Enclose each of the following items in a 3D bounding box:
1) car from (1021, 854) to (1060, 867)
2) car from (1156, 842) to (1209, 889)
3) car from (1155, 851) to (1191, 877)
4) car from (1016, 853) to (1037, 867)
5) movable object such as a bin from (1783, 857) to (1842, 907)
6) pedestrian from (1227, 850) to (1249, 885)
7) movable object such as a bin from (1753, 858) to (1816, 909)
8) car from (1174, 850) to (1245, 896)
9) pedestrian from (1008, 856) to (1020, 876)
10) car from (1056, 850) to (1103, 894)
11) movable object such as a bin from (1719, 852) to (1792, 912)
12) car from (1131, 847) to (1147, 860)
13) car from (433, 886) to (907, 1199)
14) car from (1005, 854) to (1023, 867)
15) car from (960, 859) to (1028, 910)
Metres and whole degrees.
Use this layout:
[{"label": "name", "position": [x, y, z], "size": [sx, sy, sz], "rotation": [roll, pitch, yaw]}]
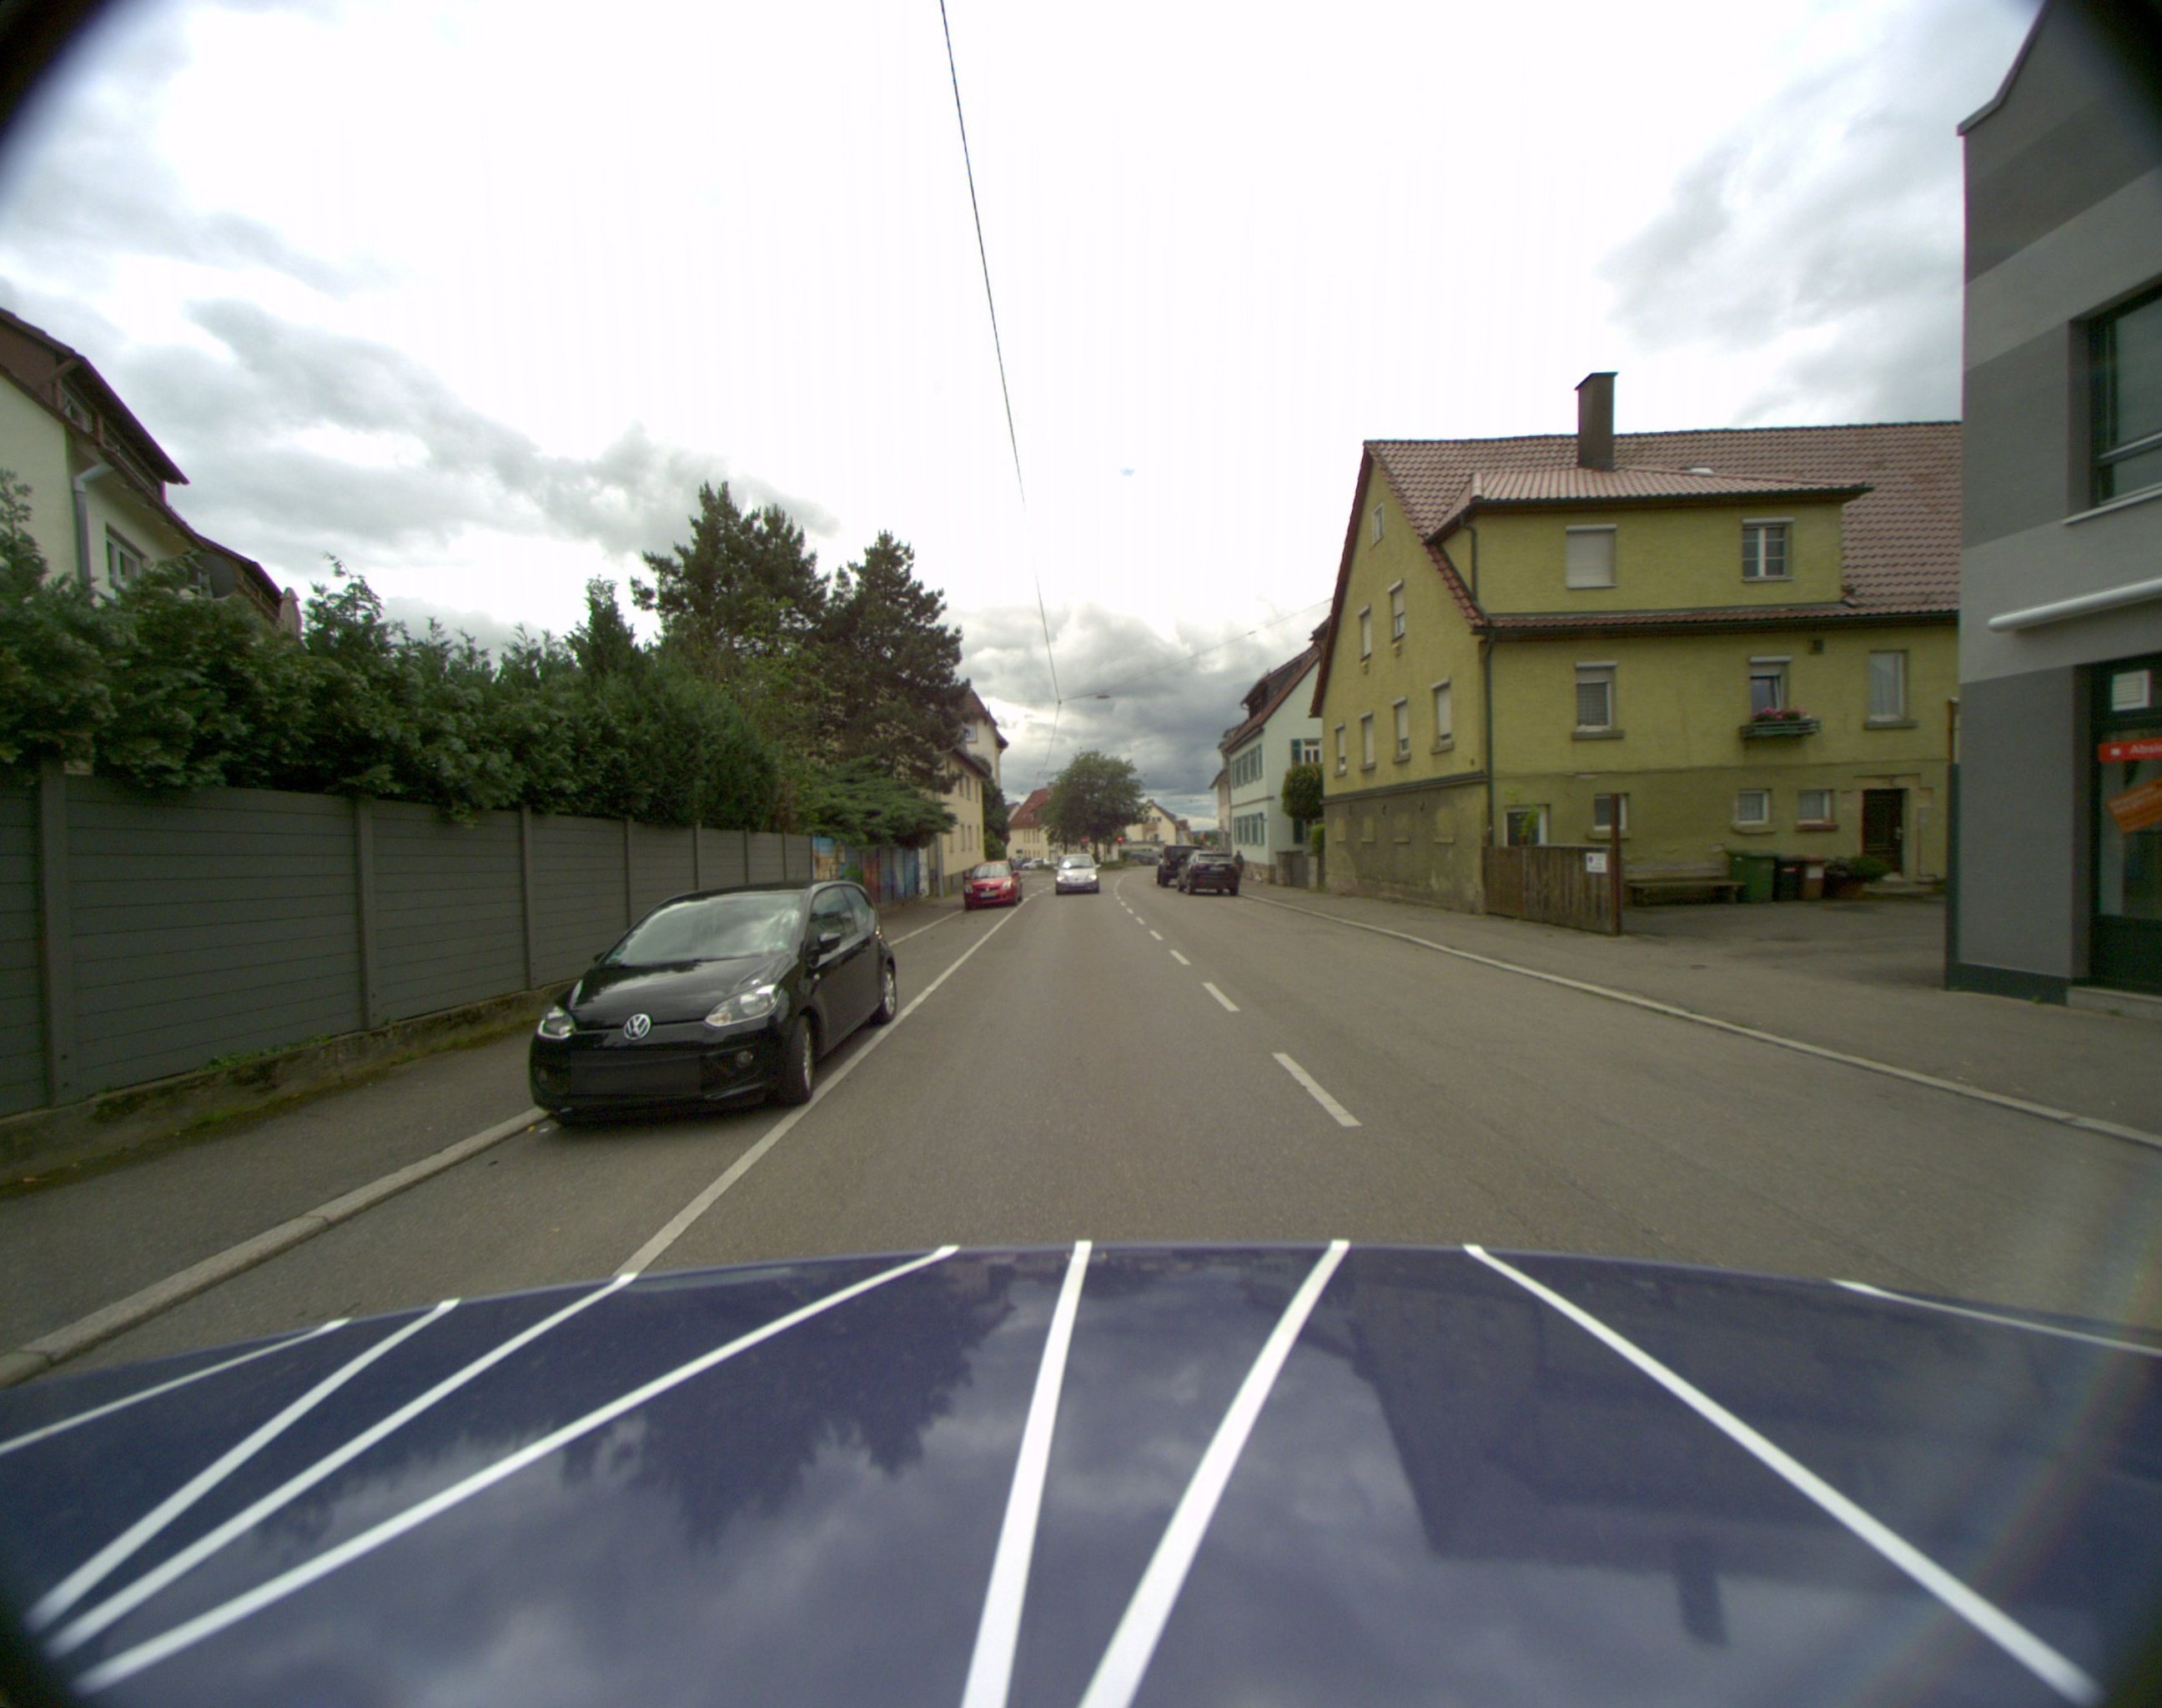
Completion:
[{"label": "car", "position": [-5.010, 0.807, 94.785], "size": [4.562, 1.436, 2.001], "rotation": [1, 0, 8]}, {"label": "car", "position": [4.604, 0.484, 34.998], "size": [1.998, 2.002, 4.671], "rotation": [1, 0, 3]}, {"label": "car", "position": [5.457, 0.549, 45.473], "size": [2.002, 1.428, 3.920], "rotation": [-2, 0, 6]}, {"label": "car", "position": [-7.796, 0.911, 108.897], "size": [1.777, 1.931, 4.318], "rotation": [1, -2, -21]}, {"label": "movable object such as a bin", "position": [14.576, 0.545, 15.145], "size": [0.568, 0.943, 0.624], "rotation": [-2, 1, -9]}, {"label": "pedestrian", "position": [7.053, 0.586, 34.222], "size": [0.808, 1.491, 0.976], "rotation": [-3, 1, 6]}, {"label": "movable object such as a bin", "position": [13.941, 0.576, 15.067], "size": [0.663, 0.943, 0.624], "rotation": [-2, 1, -9]}, {"label": "car", "position": [4.781, 0.698, 28.860], "size": [1.901, 1.609, 4.525], "rotation": [0, -1, 0]}, {"label": "pedestrian", "position": [-6.107, 1.079, 69.016], "size": [0.861, 1.722, 1.021], "rotation": [-3, -1, -12]}, {"label": "car", "position": [-0.016, 0.721, 31.060], "size": [1.721, 1.586, 4.001], "rotation": [-3, -1, 1]}, {"label": "movable object such as a bin", "position": [13.153, 0.536, 14.832], "size": [0.901, 1.099, 0.624], "rotation": [-2, 1, -9]}, {"label": "car", "position": [7.894, -0.064, 102.881], "size": [1.749, 1.729, 4.576], "rotation": [1, -1, 9]}, {"label": "car", "position": [-2.683, 1.110, 6.144], "size": [1.763, 1.443, 3.998], "rotation": [-2, 1, -3]}, {"label": "car", "position": [-10.292, 1.011, 116.171], "size": [1.724, 1.720, 3.994], "rotation": [-3, -1, -20]}, {"label": "car", "position": [-2.863, 0.970, 25.887], "size": [1.763, 1.443, 3.999], "rotation": [-3, 1, 0]}]
